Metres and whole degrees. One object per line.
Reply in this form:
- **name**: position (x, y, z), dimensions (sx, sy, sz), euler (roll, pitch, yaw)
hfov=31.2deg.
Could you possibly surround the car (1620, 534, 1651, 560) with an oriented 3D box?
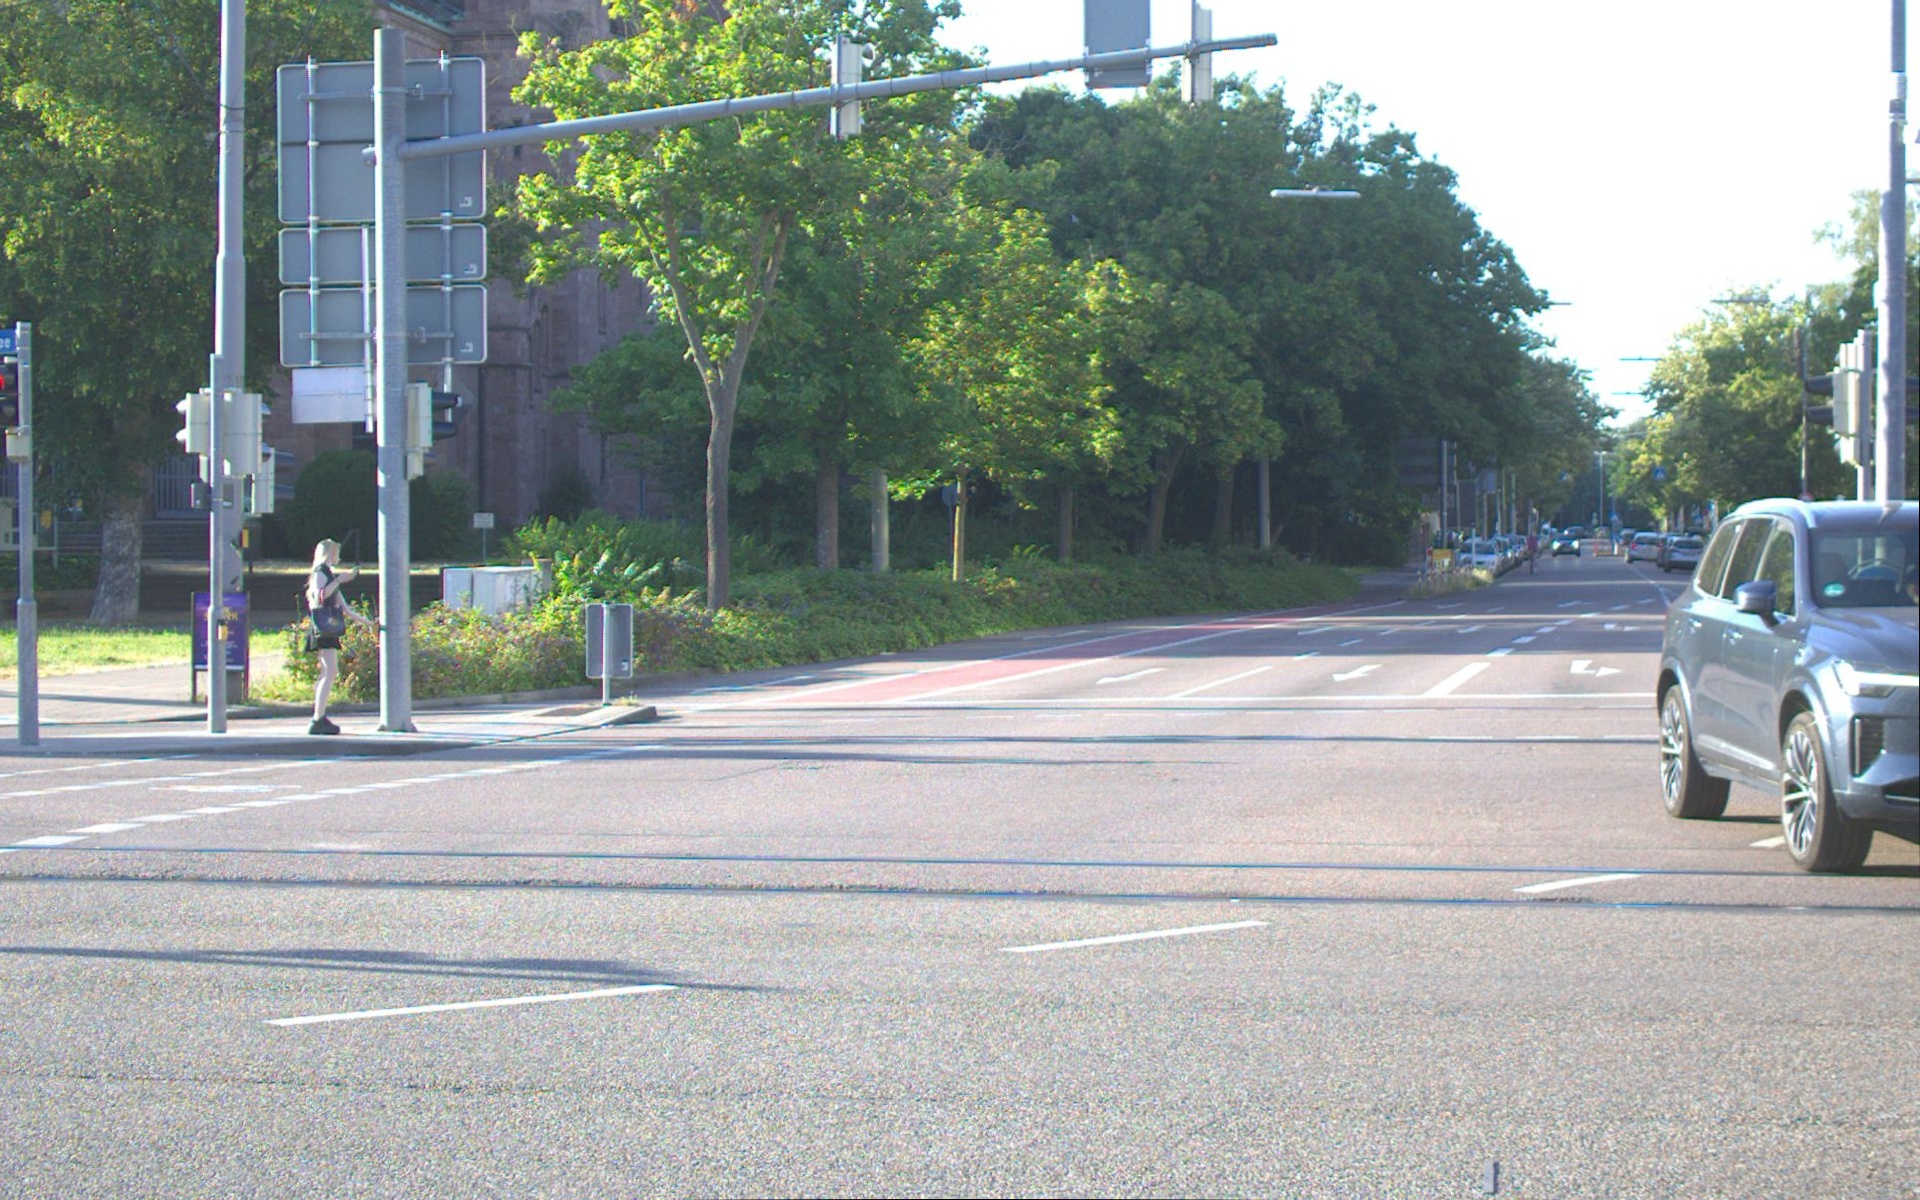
- **car**: position (34.984, -2.749, 178.029), dimensions (1.595, 1.263, 3.265), euler (0, 2, 11)

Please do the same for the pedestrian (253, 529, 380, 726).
- **pedestrian**: position (-5.766, 0.228, 30.842), dimensions (0.810, 1.733, 0.967), euler (0, 1, 13)

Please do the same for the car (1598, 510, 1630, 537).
- **car**: position (41.958, -4.912, 220.467), dimensions (1.887, 1.665, 3.998), euler (2, 2, 11)

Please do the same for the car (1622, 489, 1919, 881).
- **car**: position (4.785, 0.349, 17.593), dimensions (1.993, 1.718, 5.031), euler (0, 1, 2)

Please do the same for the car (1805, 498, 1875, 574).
- **car**: position (29.318, -2.145, 114.589), dimensions (1.994, 2.432, 3.998), euler (2, 2, 11)

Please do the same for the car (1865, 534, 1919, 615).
- **car**: position (19.984, -0.547, 71.569), dimensions (1.917, 1.602, 4.267), euler (2, 2, 11)

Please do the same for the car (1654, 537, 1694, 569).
- **car**: position (29.768, -1.958, 143.379), dimensions (1.595, 1.263, 3.265), euler (0, 2, 11)

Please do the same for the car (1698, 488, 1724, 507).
- **car**: position (48.730, -6.657, 223.191), dimensions (1.595, 1.263, 3.265), euler (0, 2, 11)
